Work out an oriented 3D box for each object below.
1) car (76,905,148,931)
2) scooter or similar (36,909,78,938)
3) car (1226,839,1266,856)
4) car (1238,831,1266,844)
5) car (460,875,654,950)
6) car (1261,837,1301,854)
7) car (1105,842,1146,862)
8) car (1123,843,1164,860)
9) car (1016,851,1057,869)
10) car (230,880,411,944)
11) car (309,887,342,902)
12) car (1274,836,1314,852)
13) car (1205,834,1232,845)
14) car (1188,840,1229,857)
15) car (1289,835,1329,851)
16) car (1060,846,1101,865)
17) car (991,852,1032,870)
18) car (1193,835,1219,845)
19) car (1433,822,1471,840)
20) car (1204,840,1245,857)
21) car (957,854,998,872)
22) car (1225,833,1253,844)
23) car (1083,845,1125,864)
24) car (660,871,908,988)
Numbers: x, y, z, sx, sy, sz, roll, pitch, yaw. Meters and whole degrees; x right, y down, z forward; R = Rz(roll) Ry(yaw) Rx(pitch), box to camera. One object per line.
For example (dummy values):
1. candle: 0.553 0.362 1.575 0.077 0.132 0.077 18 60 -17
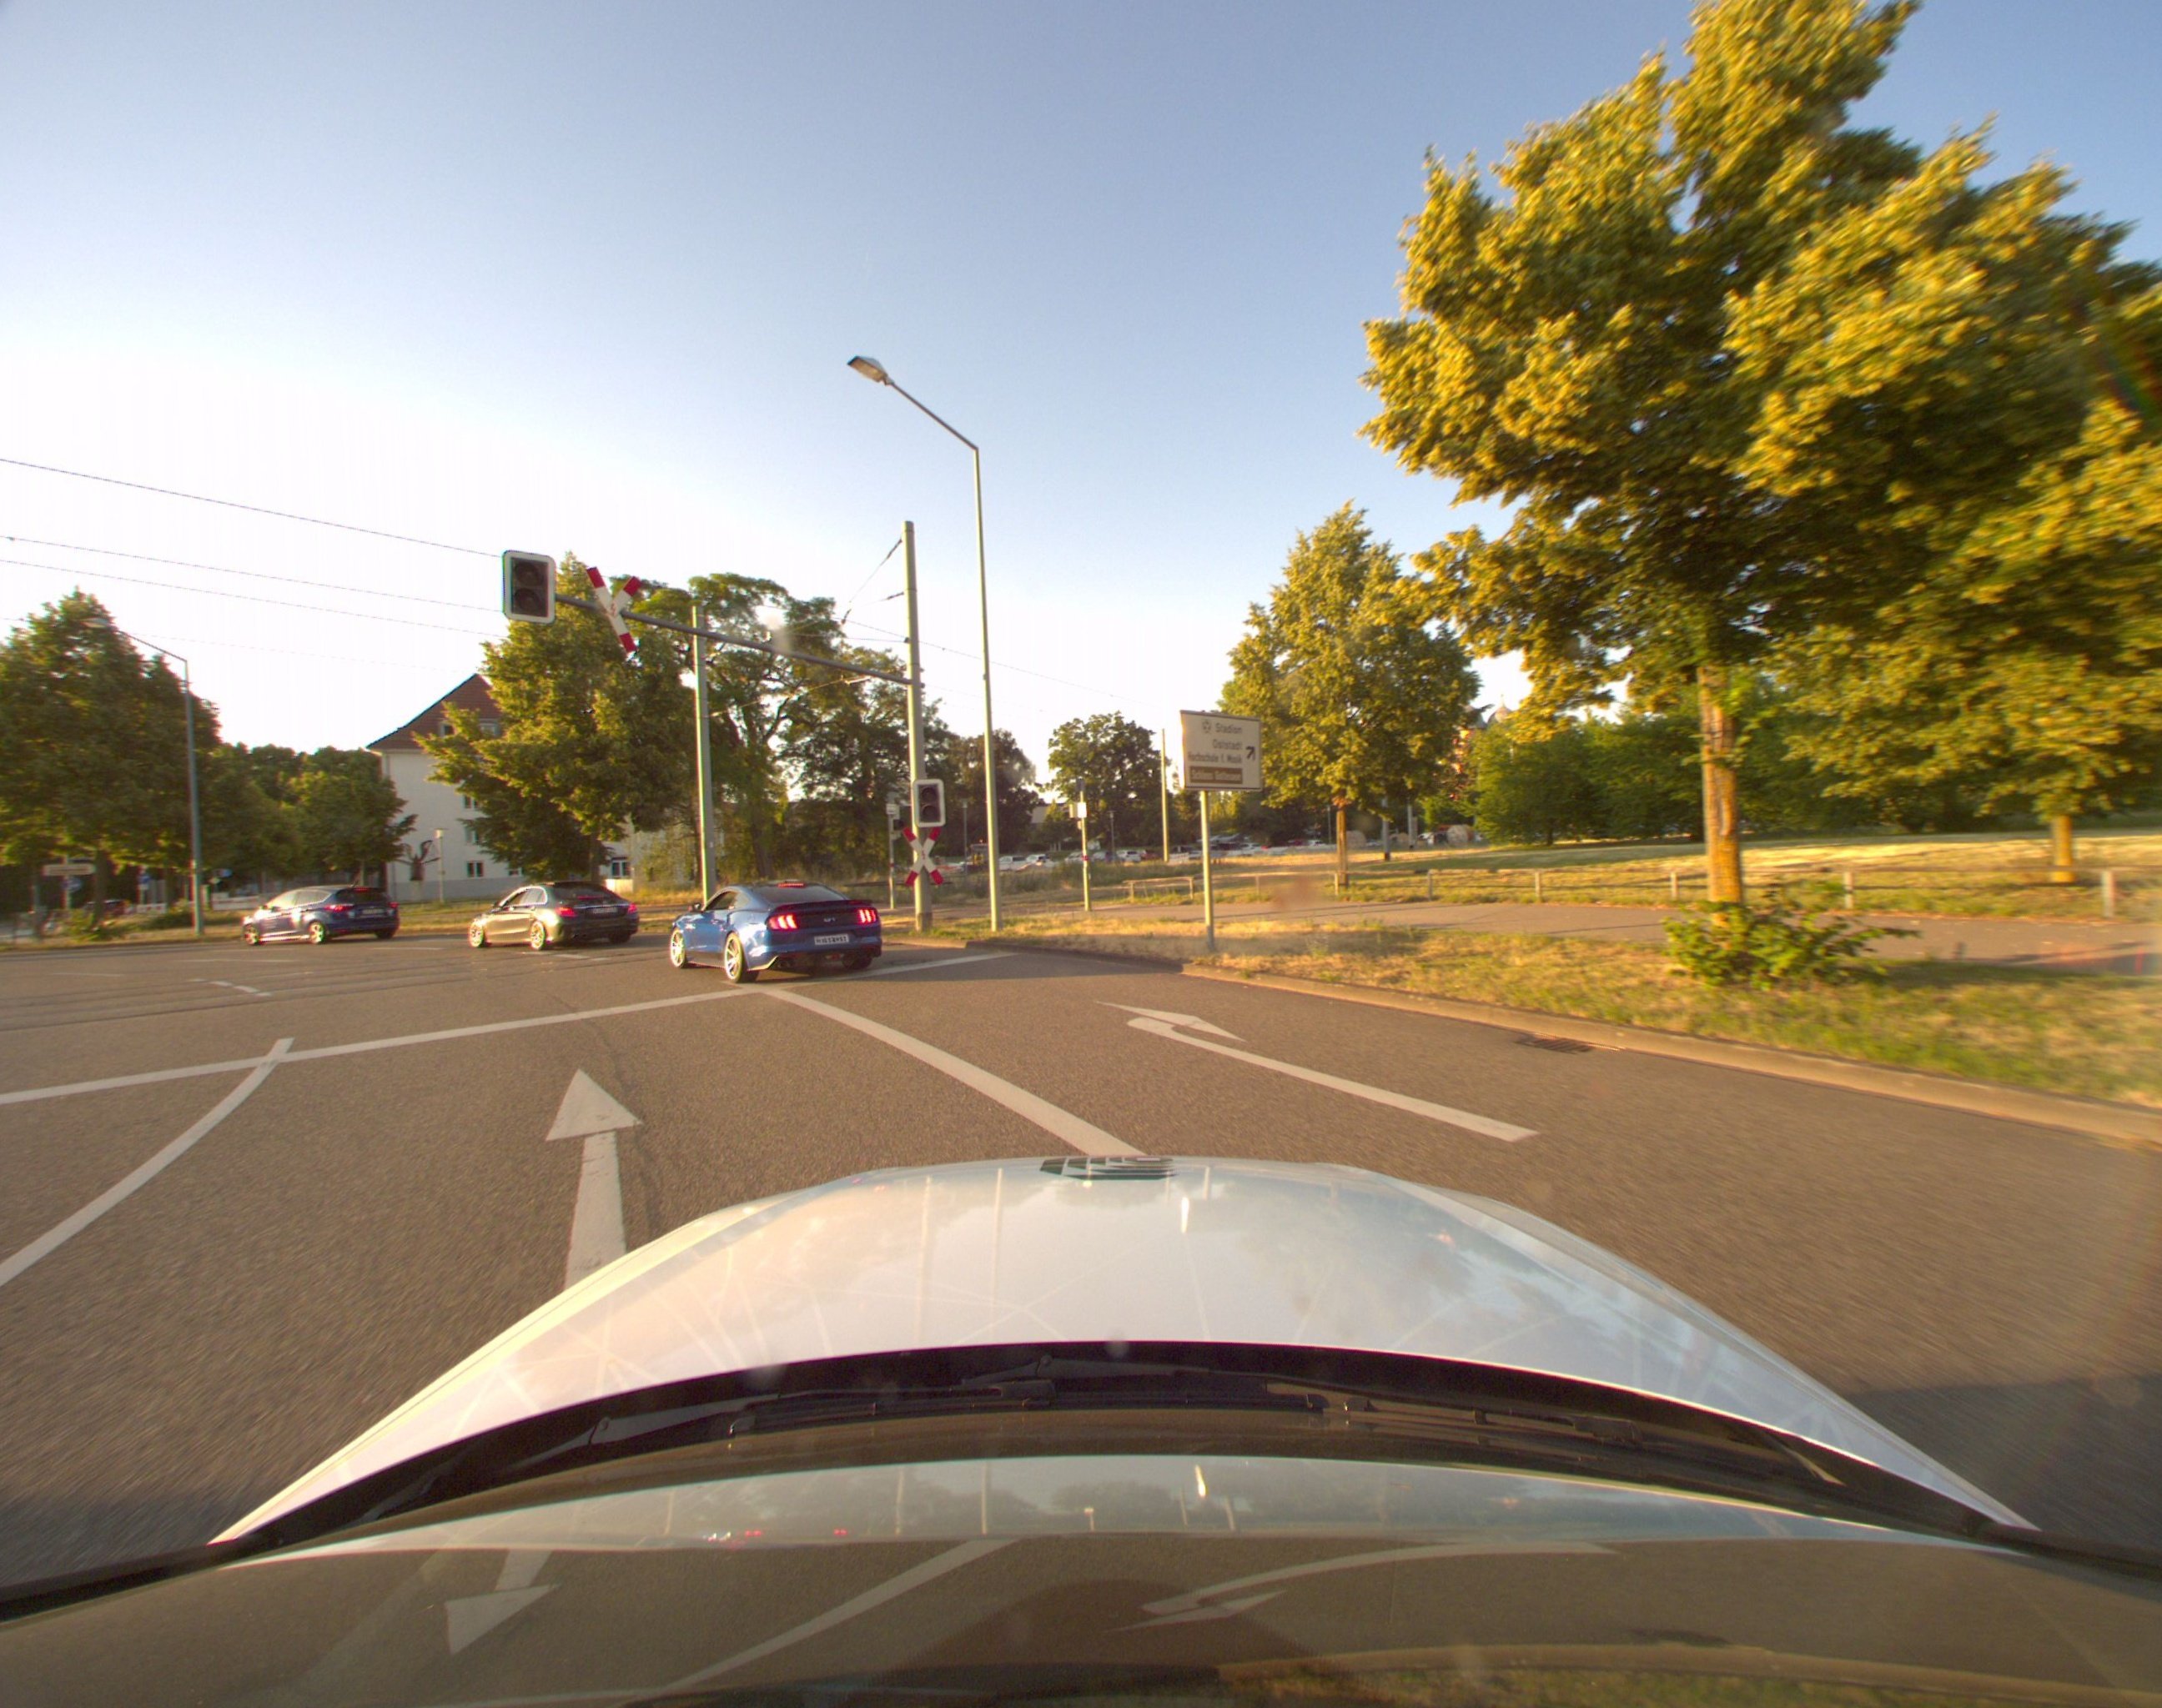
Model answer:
1. car: -67.340 4.426 56.686 1.887 1.401 3.879 -3 1 -29
2. scooter or similar: -47.662 3.227 37.918 0.438 1.238 1.127 -3 0 10
3. car: 17.483 -0.697 86.361 1.911 1.553 3.958 -3 0 -34
4. car: 26.569 -2.541 126.475 4.013 1.744 1.980 -3 1 -31
5. car: -11.773 1.265 18.228 4.372 1.427 1.970 -2 -1 32
6. car: 21.721 -0.925 88.602 1.911 1.553 3.958 -3 0 -34
7. car: 4.242 -0.174 78.605 1.961 1.662 3.958 -3 0 -34
8. car: 6.160 -0.229 80.534 1.911 1.553 3.958 -3 0 -34
9. car: -4.032 0.554 73.651 1.961 1.445 3.958 -3 0 -34
10. car: -21.704 1.647 23.292 4.032 1.602 1.966 -3 0 17
11. car: -87.017 4.642 93.881 1.887 1.401 3.879 -3 1 -29
12. car: 23.471 -1.054 89.901 1.911 1.553 3.958 -3 0 -34
13. car: 22.544 -2.420 133.707 4.012 1.553 1.885 -3 0 -30
14. car: 13.115 -0.581 83.775 1.911 1.553 3.958 -3 0 -34
15. car: 25.504 -1.241 91.307 1.911 1.553 3.958 -3 0 -34
16. car: -0.046 0.152 76.749 1.961 1.662 3.958 -3 0 -34
17. car: -6.238 0.668 72.703 1.961 1.445 3.958 -3 0 -34
18. car: 20.934 -2.351 136.260 4.012 1.553 1.885 -3 0 -30
19. car: 47.318 -2.909 103.857 1.911 2.095 3.958 -3 0 -34
20. car: 14.947 -0.609 84.929 1.911 1.553 3.958 -3 0 -34
21. car: -9.064 0.823 71.416 1.961 1.445 3.958 -3 0 -34
22. car: 25.189 -2.428 129.730 4.012 1.553 1.885 -3 0 -30
23. car: 2.170 0.082 77.700 1.961 1.662 3.958 -3 0 -34
24. car: -4.633 0.983 12.244 1.968 1.342 4.615 -2 0 -41
